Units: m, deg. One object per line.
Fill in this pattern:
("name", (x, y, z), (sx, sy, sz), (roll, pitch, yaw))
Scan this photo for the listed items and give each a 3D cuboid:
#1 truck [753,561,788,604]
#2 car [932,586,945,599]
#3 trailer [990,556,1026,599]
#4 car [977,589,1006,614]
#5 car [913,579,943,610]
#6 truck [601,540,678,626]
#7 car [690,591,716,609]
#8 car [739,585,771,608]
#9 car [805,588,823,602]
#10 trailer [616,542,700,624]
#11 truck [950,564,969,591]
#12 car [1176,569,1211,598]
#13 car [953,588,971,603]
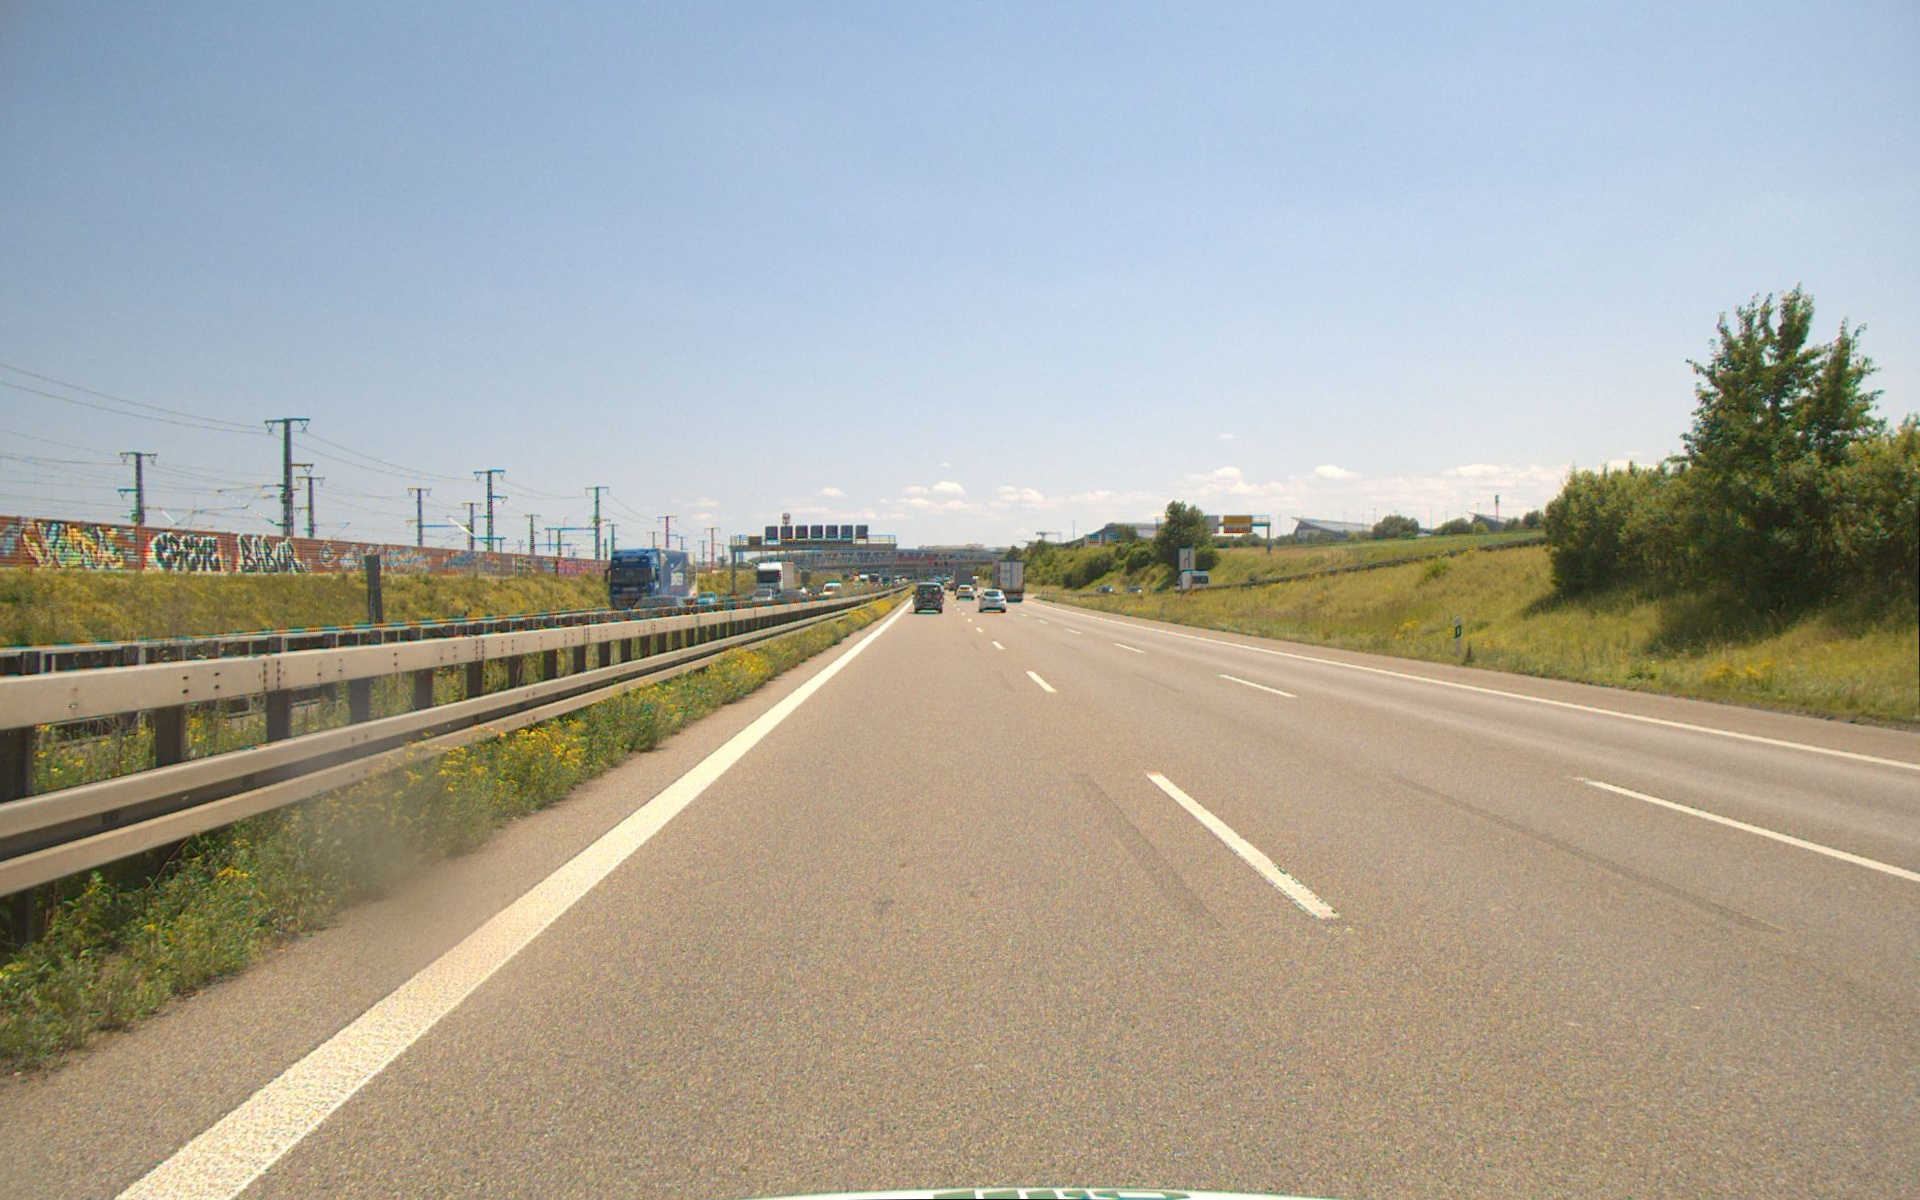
("truck", (-18.709, -1.744, 163.642), (2.674, 4.143, 6.380), (-1, 1, 0))
("car", (-3.344, -1.175, 258.554), (1.953, 2.049, 3.999), (0, 0, -2))
("trailer", (4.694, -2.201, 163.791), (3.113, 4.130, 9.438), (-1, 1, -1))
("car", (2.065, 0.079, 107.416), (1.842, 1.553, 4.001), (1, 0, 2))
("car", (-1.960, -0.331, 101.835), (1.842, 1.806, 3.999), (-1, 0, -1))
("truck", (-17.589, -0.954, 91.172), (2.829, 4.484, 7.502), (-1, 1, -1))
("car", (-22.342, -0.014, 143.705), (1.718, 1.546, 3.835), (0, 1, -1))
("car", (-15.427, -0.278, 124.817), (1.953, 1.676, 3.999), (0, 0, -1))
("car", (-15.606, -0.566, 176.970), (1.611, 1.487, 3.836), (0, 1, 0))
("trailer", (-17.678, -1.013, 97.677), (2.829, 4.484, 12.089), (-1, 1, -1))
("truck", (-0.096, -2.950, 216.841), (2.307, 3.476, 6.056), (0, 1, -1))
("car", (21.051, -1.515, 149.181), (2.229, 2.572, 5.397), (0, 1, -2))
("car", (0.222, -0.472, 173.875), (1.842, 1.553, 4.000), (1, 0, 0))
